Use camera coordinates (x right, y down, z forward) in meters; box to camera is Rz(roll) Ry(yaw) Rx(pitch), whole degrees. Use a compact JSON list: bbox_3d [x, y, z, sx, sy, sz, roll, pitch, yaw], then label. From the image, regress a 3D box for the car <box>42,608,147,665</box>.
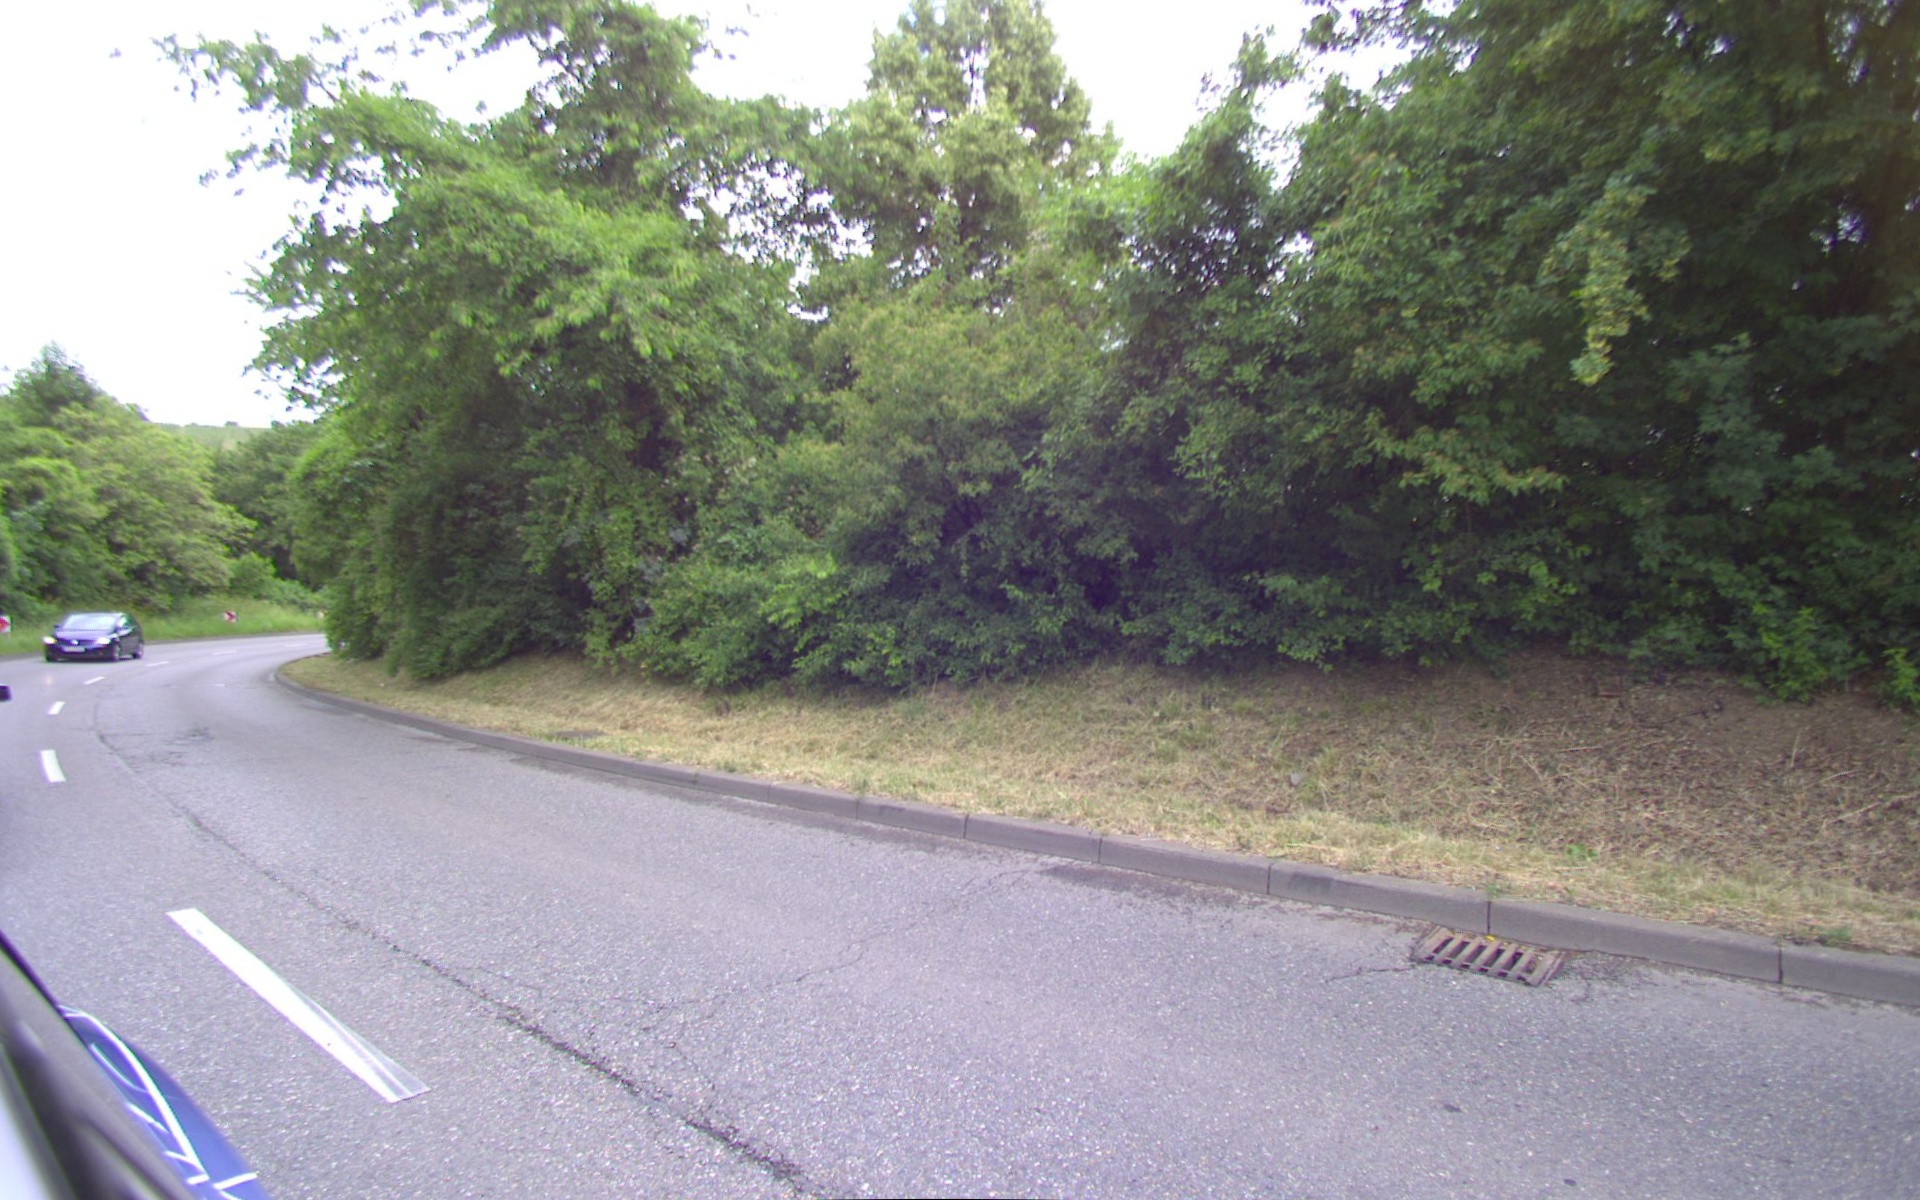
[{"bbox_3d":[-27.458,1.135,32.243,1.527,1.657,3.752,4,-2,-25],"label":"car"}]
